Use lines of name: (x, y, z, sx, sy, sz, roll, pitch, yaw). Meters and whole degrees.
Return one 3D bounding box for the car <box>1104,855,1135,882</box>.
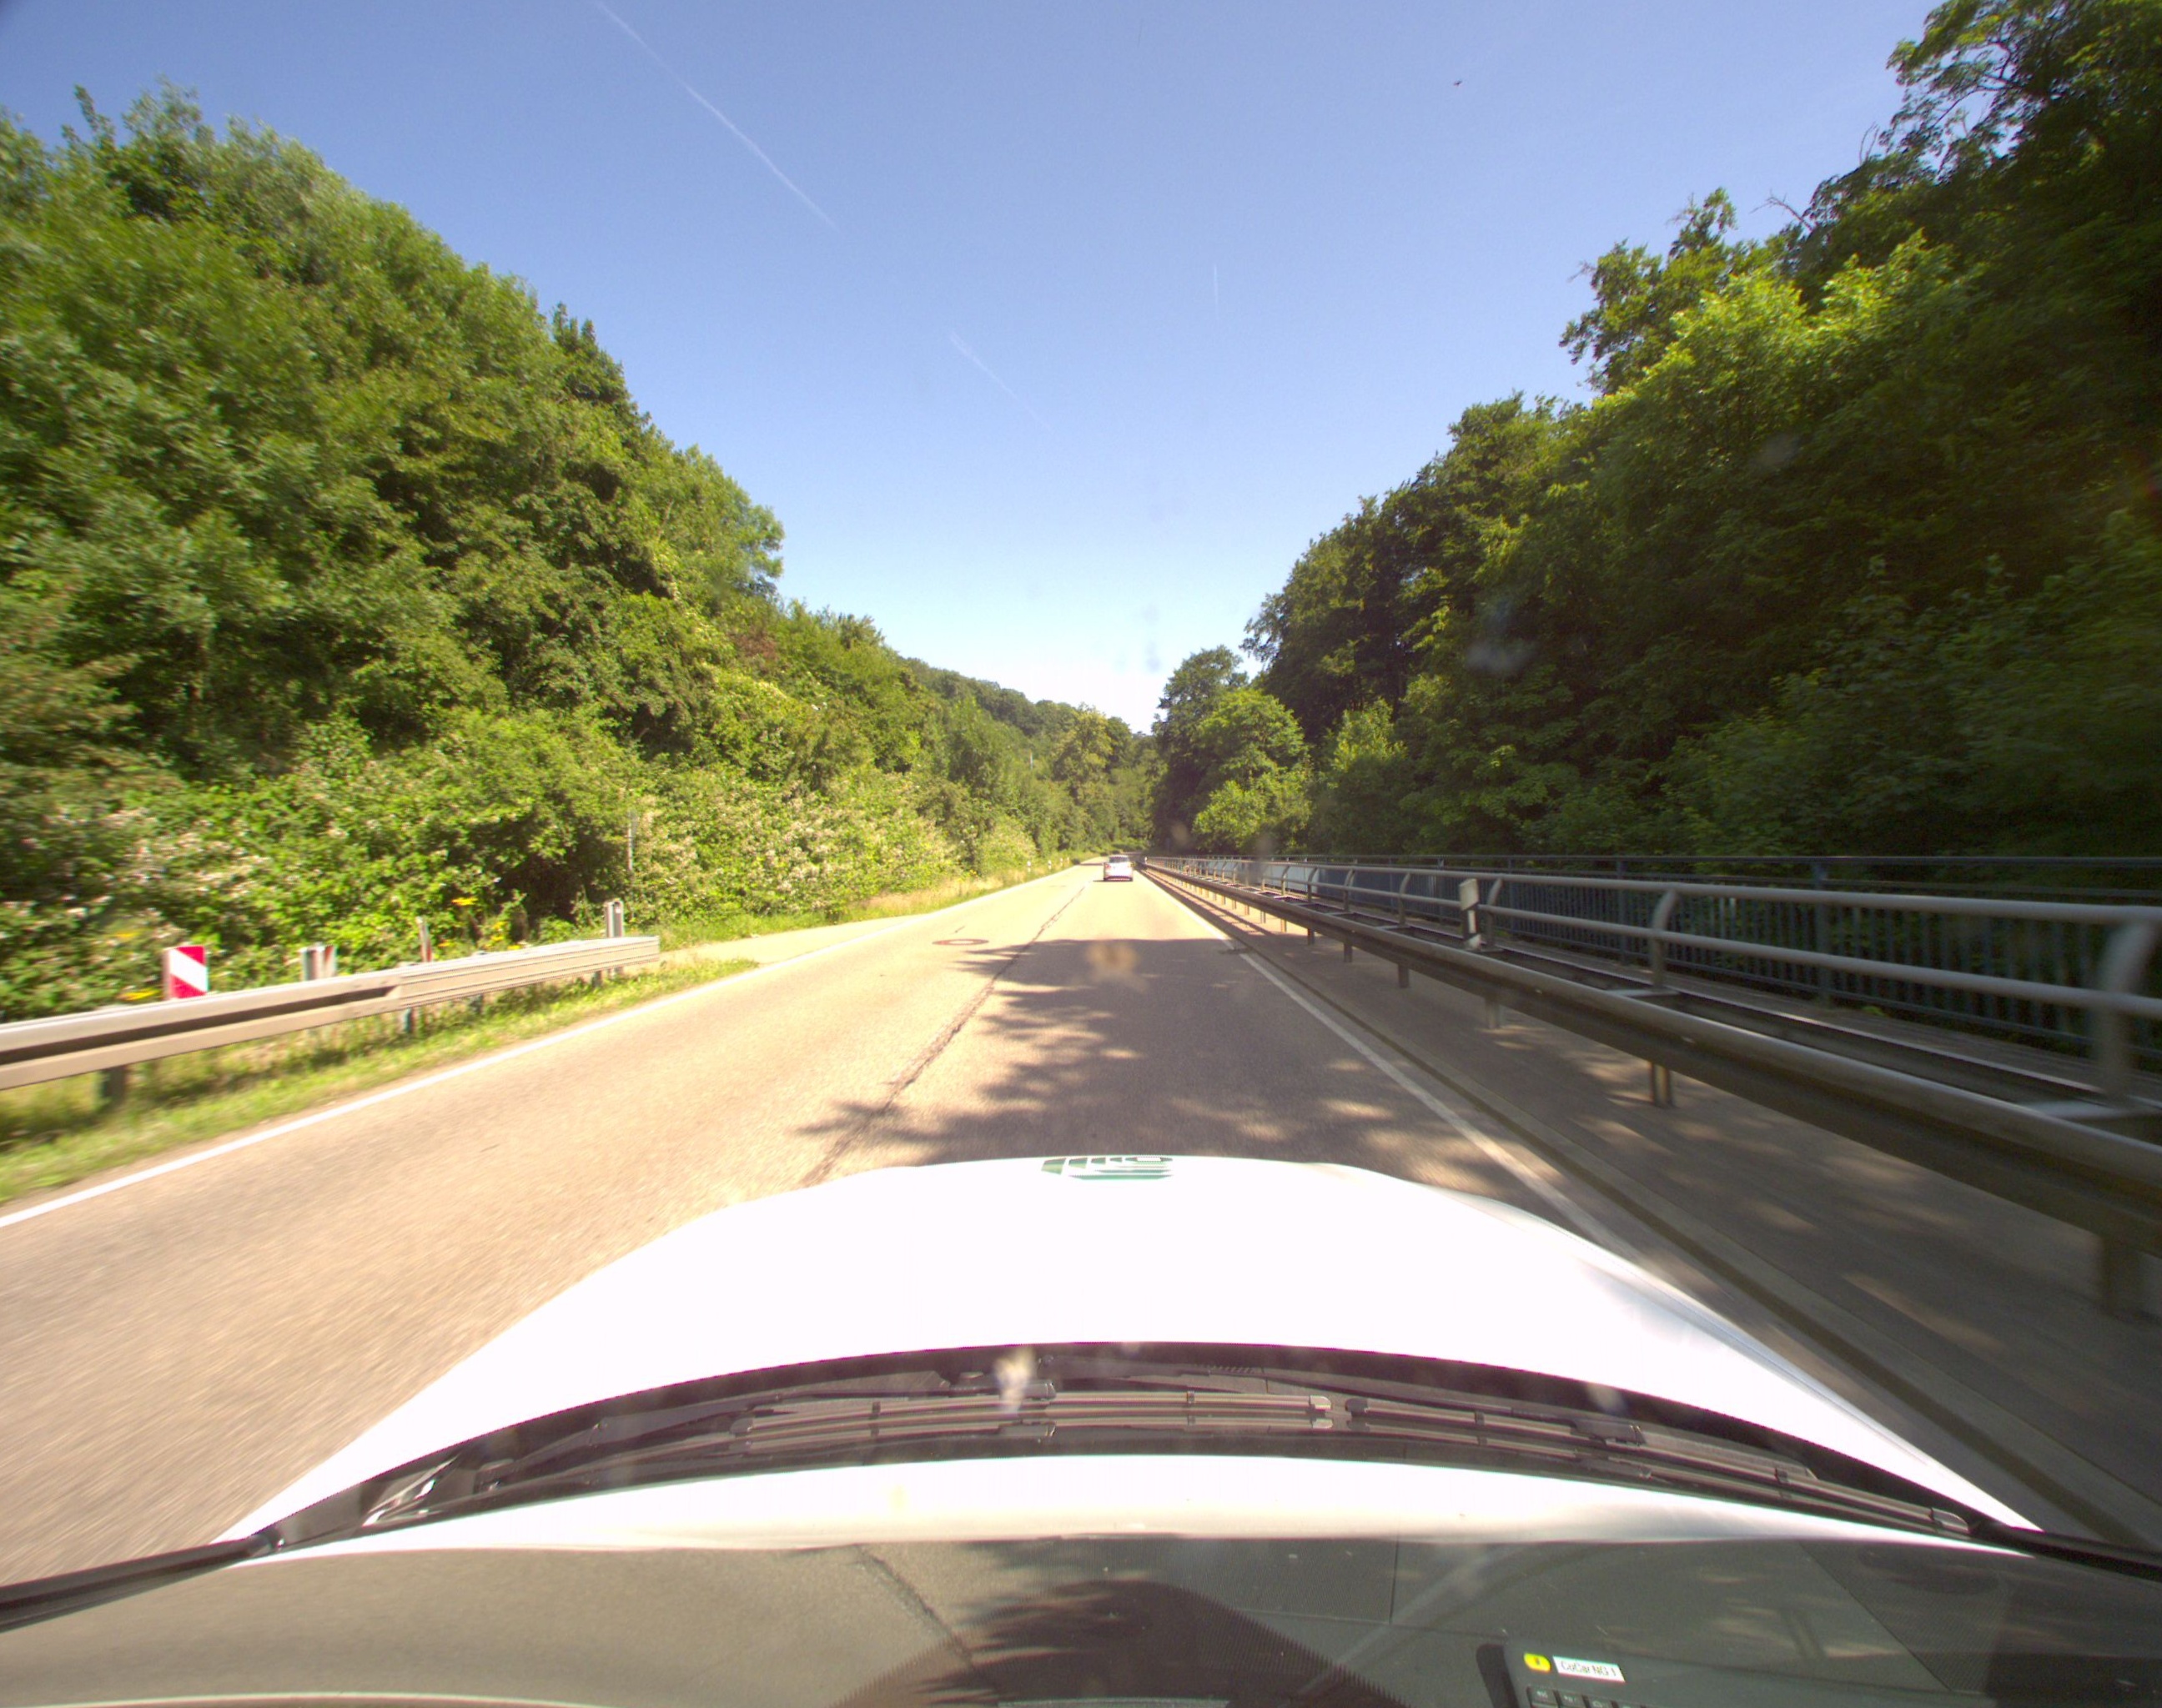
car: (2.278, 0.818, 48.364, 1.744, 1.520, 4.162, 0, 1, 2)
